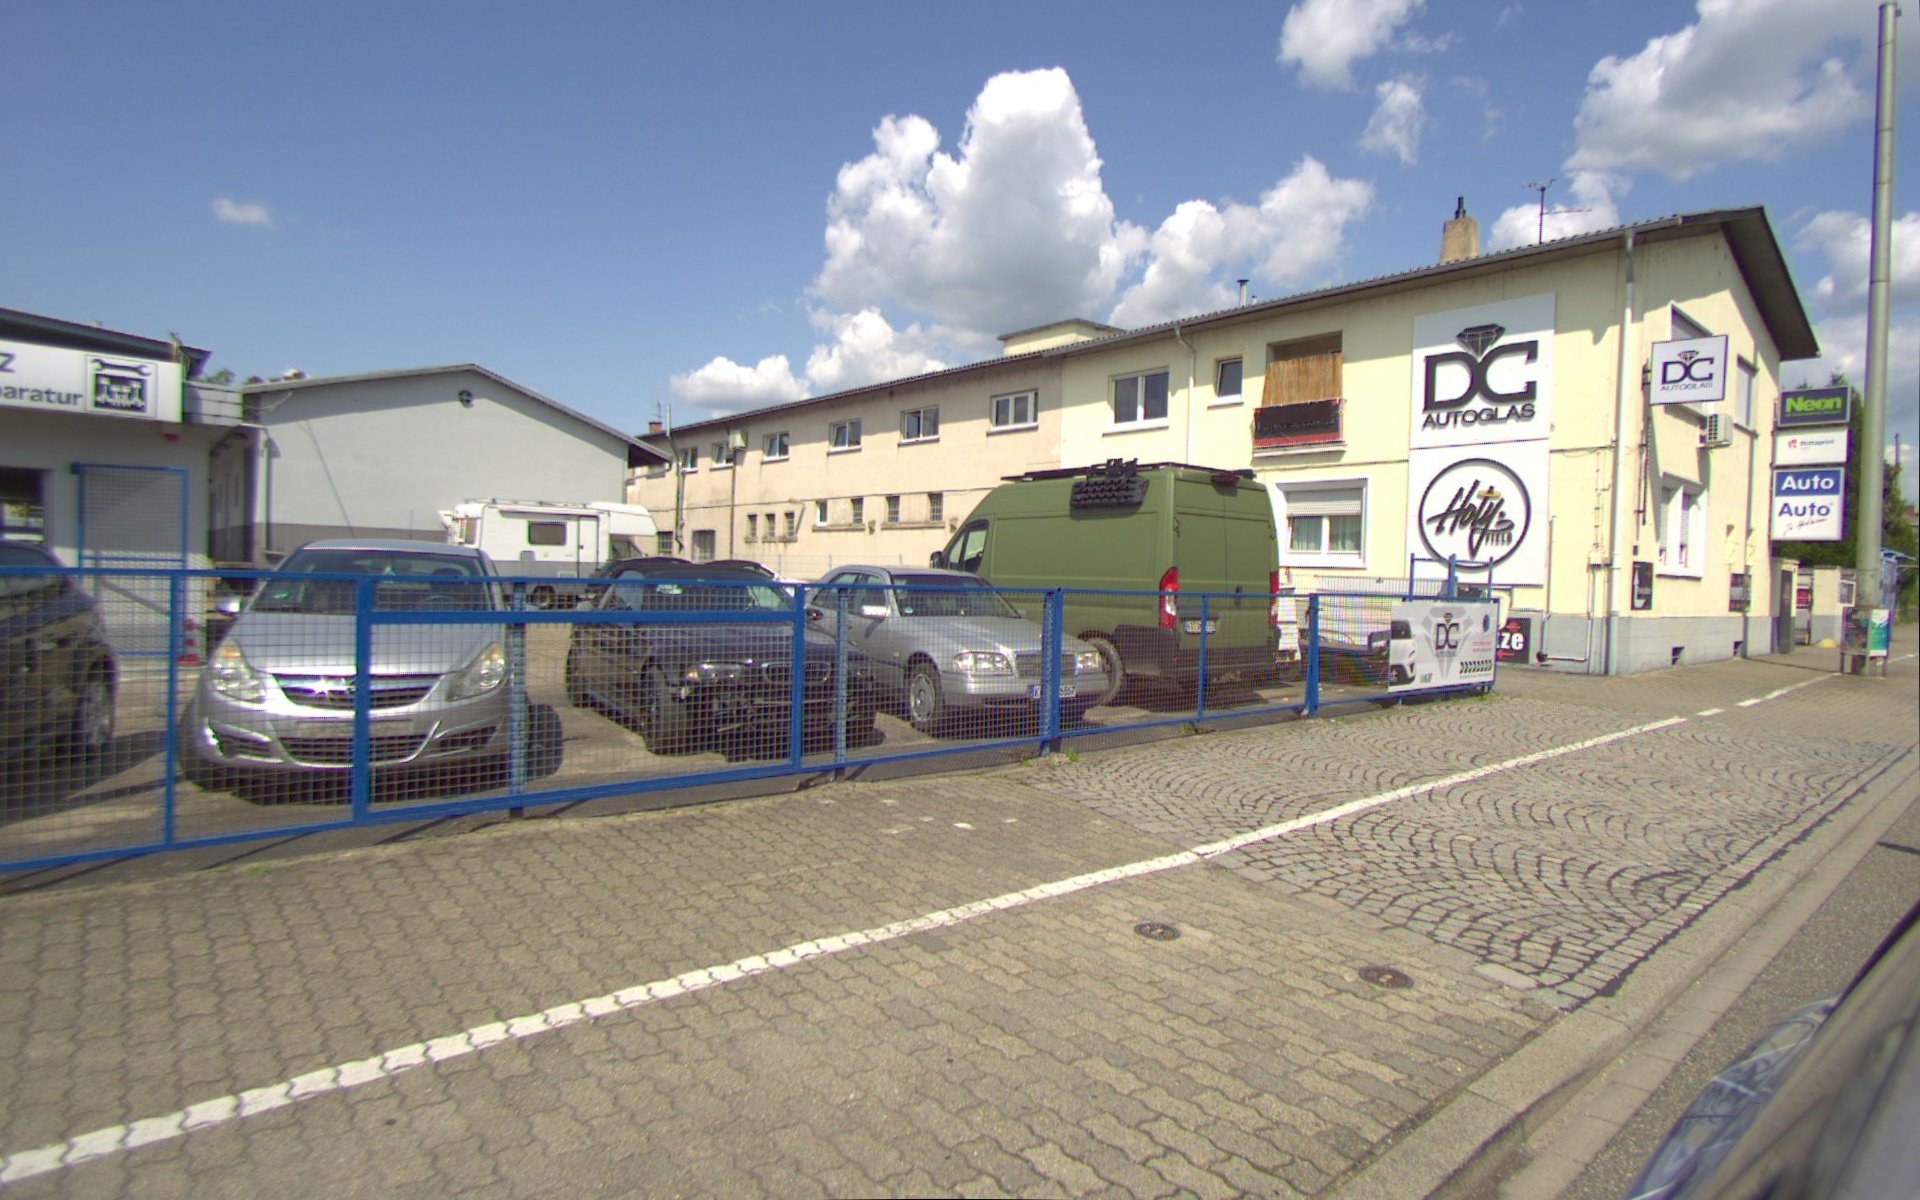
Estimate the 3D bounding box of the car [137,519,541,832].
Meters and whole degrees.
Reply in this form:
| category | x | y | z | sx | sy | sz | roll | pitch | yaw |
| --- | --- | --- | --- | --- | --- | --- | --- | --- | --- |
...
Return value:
| category | x | y | z | sx | sy | sz | roll | pitch | yaw |
| --- | --- | --- | --- | --- | --- | --- | --- | --- | --- |
| car | -3.952 | 0.298 | 7.103 | 1.766 | 1.497 | 4.158 | 1 | 2 | -24 |

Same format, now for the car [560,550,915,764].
| category | x | y | z | sx | sy | sz | roll | pitch | yaw |
| --- | --- | --- | --- | --- | --- | --- | --- | --- | --- |
| car | -2.126 | 0.306 | 8.746 | 1.768 | 1.403 | 3.837 | 1 | 2 | -32 |

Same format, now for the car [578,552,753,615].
| category | x | y | z | sx | sy | sz | roll | pitch | yaw |
| --- | --- | --- | --- | --- | --- | --- | --- | --- | --- |
| car | -7.480 | -0.415 | 25.890 | 3.939 | 1.497 | 1.719 | 0 | 2 | -41 |

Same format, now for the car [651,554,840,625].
| category | x | y | z | sx | sy | sz | roll | pitch | yaw |
| --- | --- | --- | --- | --- | --- | --- | --- | --- | --- |
| car | -4.927 | -0.251 | 23.520 | 3.939 | 1.497 | 1.719 | 0 | 2 | -41 |

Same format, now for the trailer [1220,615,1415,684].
| category | x | y | z | sx | sy | sz | roll | pitch | yaw |
| --- | --- | --- | --- | --- | --- | --- | --- | --- | --- |
| trailer | 5.081 | 0.666 | 14.529 | 1.245 | 0.776 | 2.330 | 0 | 2 | -39 |

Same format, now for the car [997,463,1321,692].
| category | x | y | z | sx | sy | sz | roll | pitch | yaw |
| --- | --- | --- | --- | --- | --- | --- | --- | --- | --- |
| car | 2.611 | -0.349 | 14.143 | 1.771 | 2.702 | 4.208 | 1 | 2 | -40 |

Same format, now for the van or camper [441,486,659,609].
| category | x | y | z | sx | sy | sz | roll | pitch | yaw |
| --- | --- | --- | --- | --- | --- | --- | --- | --- | --- |
| van or camper | -11.009 | -1.328 | 27.369 | 4.971 | 2.999 | 2.284 | 0 | 2 | -42 |

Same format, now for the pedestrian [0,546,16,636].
| category | x | y | z | sx | sy | sz | roll | pitch | yaw |
| --- | --- | --- | --- | --- | --- | --- | --- | --- | --- |
| pedestrian | -13.260 | -0.133 | 13.841 | 0.479 | 1.228 | 0.501 | 1 | 1 | -42 |

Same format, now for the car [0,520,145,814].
| category | x | y | z | sx | sy | sz | roll | pitch | yaw |
| --- | --- | --- | --- | --- | --- | --- | --- | --- | --- |
| car | -5.748 | 0.320 | 5.034 | 1.685 | 1.497 | 4.012 | 1 | 2 | -25 |

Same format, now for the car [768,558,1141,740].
| category | x | y | z | sx | sy | sz | roll | pitch | yaw |
| --- | --- | --- | --- | --- | --- | --- | --- | --- | --- |
| car | -0.297 | 0.316 | 10.206 | 1.768 | 1.413 | 4.216 | 1 | 2 | -33 |

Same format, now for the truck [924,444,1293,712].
| category | x | y | z | sx | sy | sz | roll | pitch | yaw |
| --- | --- | --- | --- | --- | --- | --- | --- | --- | --- |
| truck | 1.622 | -0.289 | 12.146 | 2.033 | 2.639 | 3.996 | 1 | 2 | -40 |
